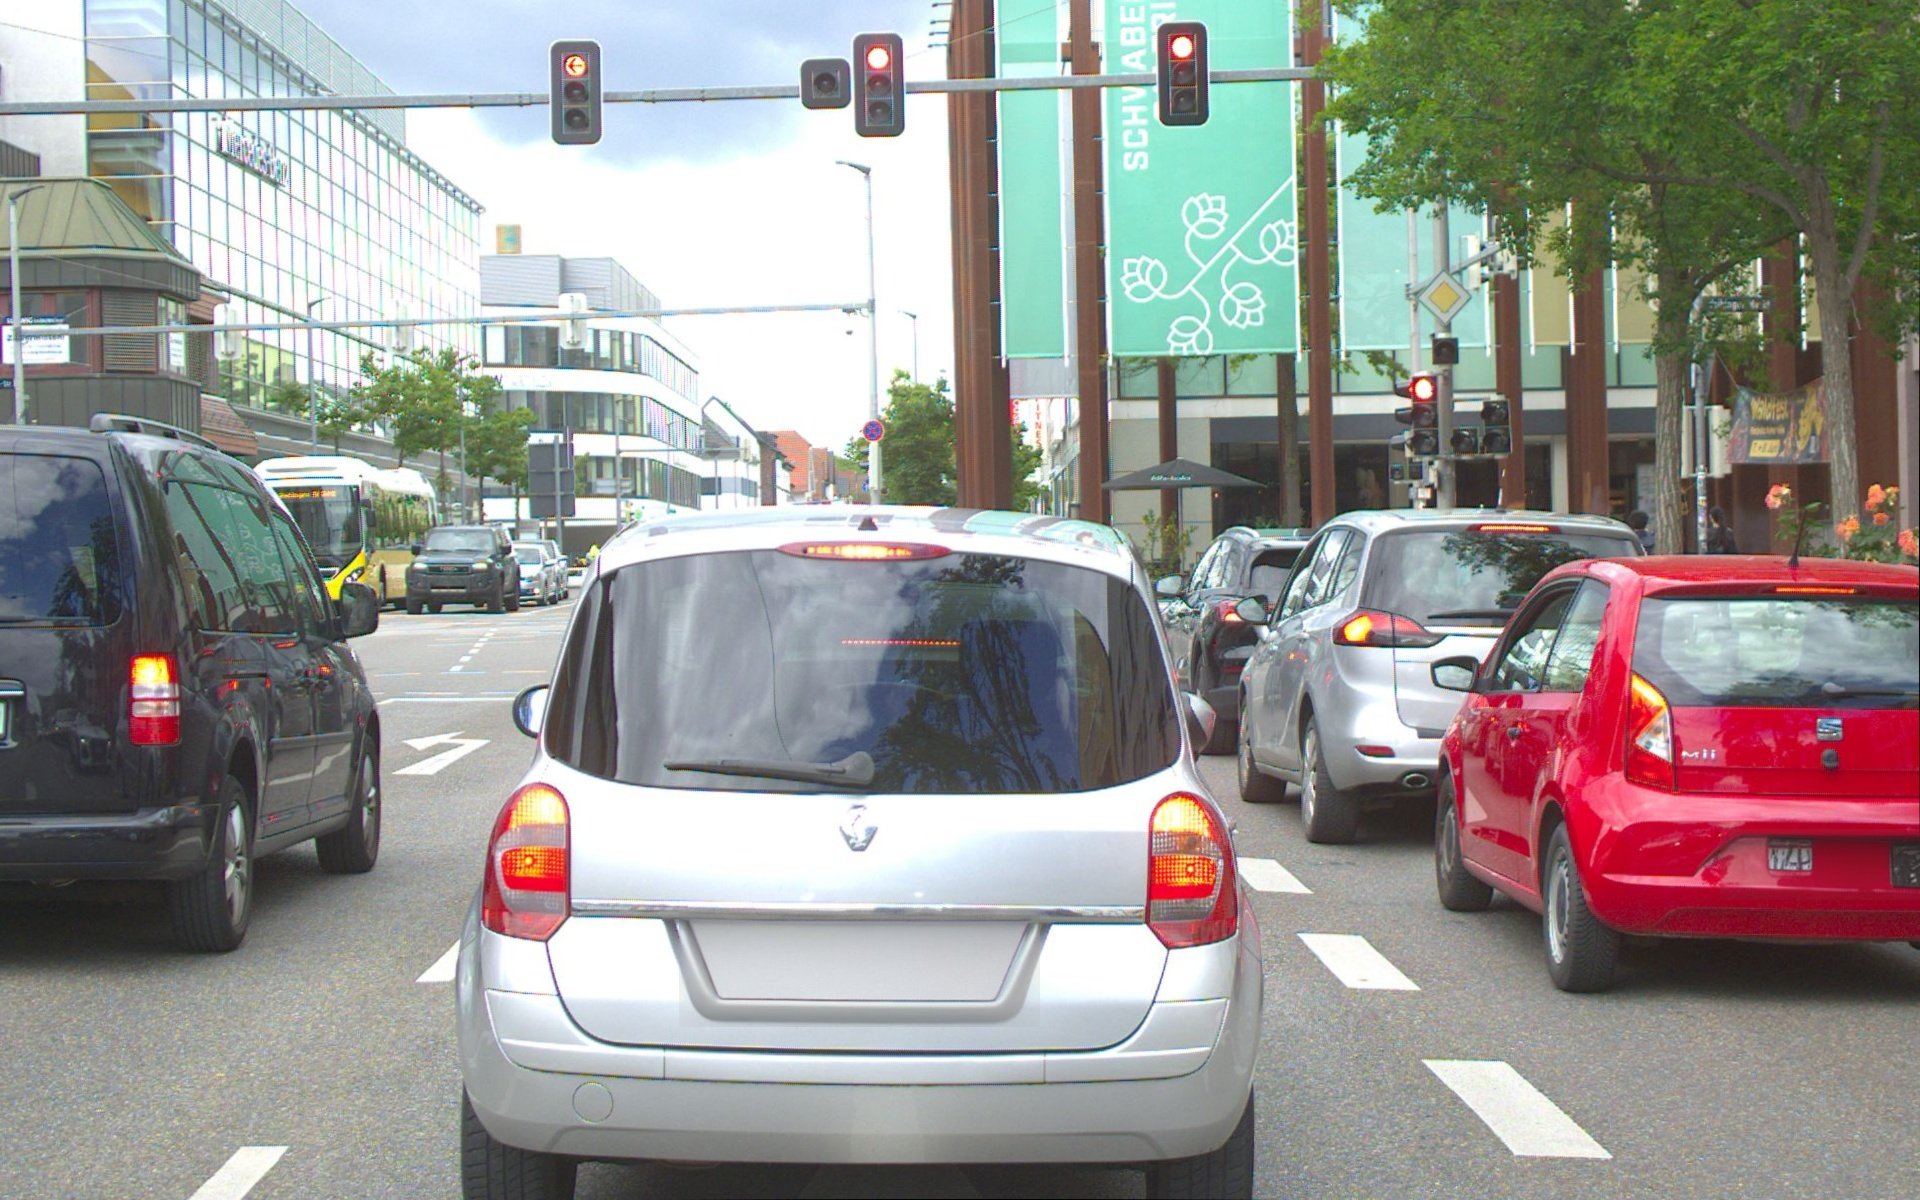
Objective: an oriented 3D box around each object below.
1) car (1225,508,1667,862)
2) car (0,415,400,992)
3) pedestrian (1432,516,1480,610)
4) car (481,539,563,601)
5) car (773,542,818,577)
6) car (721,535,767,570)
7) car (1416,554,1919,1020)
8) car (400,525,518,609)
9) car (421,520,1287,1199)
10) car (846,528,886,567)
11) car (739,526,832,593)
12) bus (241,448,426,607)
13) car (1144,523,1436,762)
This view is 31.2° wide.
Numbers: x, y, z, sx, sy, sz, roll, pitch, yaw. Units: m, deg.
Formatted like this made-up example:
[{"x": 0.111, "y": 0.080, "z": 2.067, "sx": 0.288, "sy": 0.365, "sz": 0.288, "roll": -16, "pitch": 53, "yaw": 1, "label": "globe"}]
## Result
[{"x": 2.424, "y": 0.362, "z": 18.024, "sx": 1.586, "sy": 1.628, "sz": 3.917, "roll": 1, "pitch": 1, "yaw": -2, "label": "car"}, {"x": -3.411, "y": 0.282, "z": 13.361, "sx": 1.744, "sy": 1.849, "sz": 4.634, "roll": 1, "pitch": 1, "yaw": -1, "label": "car"}, {"x": 8.733, "y": -0.657, "z": 60.509, "sx": 0.651, "sy": 1.645, "sz": 0.559, "roll": -1, "pitch": 1, "yaw": -15, "label": "pedestrian"}, {"x": -10.164, "y": -0.710, "z": 79.922, "sx": 1.555, "sy": 1.387, "sz": 3.288, "roll": -1, "pitch": 1, "yaw": -2, "label": "car"}, {"x": -7.499, "y": -1.849, "z": 157.319, "sx": 1.801, "sy": 1.535, "sz": 4.065, "roll": 0, "pitch": 1, "yaw": 1, "label": "car"}, {"x": -9.845, "y": -2.174, "z": 156.925, "sx": 1.801, "sy": 1.535, "sz": 4.065, "roll": 0, "pitch": 1, "yaw": 1, "label": "car"}, {"x": 2.714, "y": 0.576, "z": 12.578, "sx": 1.586, "sy": 1.438, "sz": 3.348, "roll": 1, "pitch": 1, "yaw": -1, "label": "car"}, {"x": -10.516, "y": -0.727, "z": 72.341, "sx": 1.993, "sy": 1.700, "sz": 4.065, "roll": -1, "pitch": 1, "yaw": -2, "label": "car"}, {"x": -0.229, "y": 0.579, "z": 8.246, "sx": 1.640, "sy": 1.522, "sz": 3.394, "roll": 0, "pitch": 1, "yaw": -1, "label": "car"}, {"x": -4.809, "y": -2.677, "z": 175.246, "sx": 1.993, "sy": 1.942, "sz": 4.951, "roll": -1, "pitch": 1, "yaw": -2, "label": "car"}, {"x": -4.513, "y": -1.068, "z": 89.334, "sx": 1.917, "sy": 1.671, "sz": 4.242, "roll": 0, "pitch": 1, "yaw": 4, "label": "car"}, {"x": -13.559, "y": -1.585, "z": 75.071, "sx": 2.686, "sy": 3.250, "sz": 8.654, "roll": -1, "pitch": 1, "yaw": -2, "label": "bus"}, {"x": 2.337, "y": 0.251, "z": 25.197, "sx": 1.586, "sy": 1.589, "sz": 3.868, "roll": 1, "pitch": 1, "yaw": -2, "label": "car"}]
